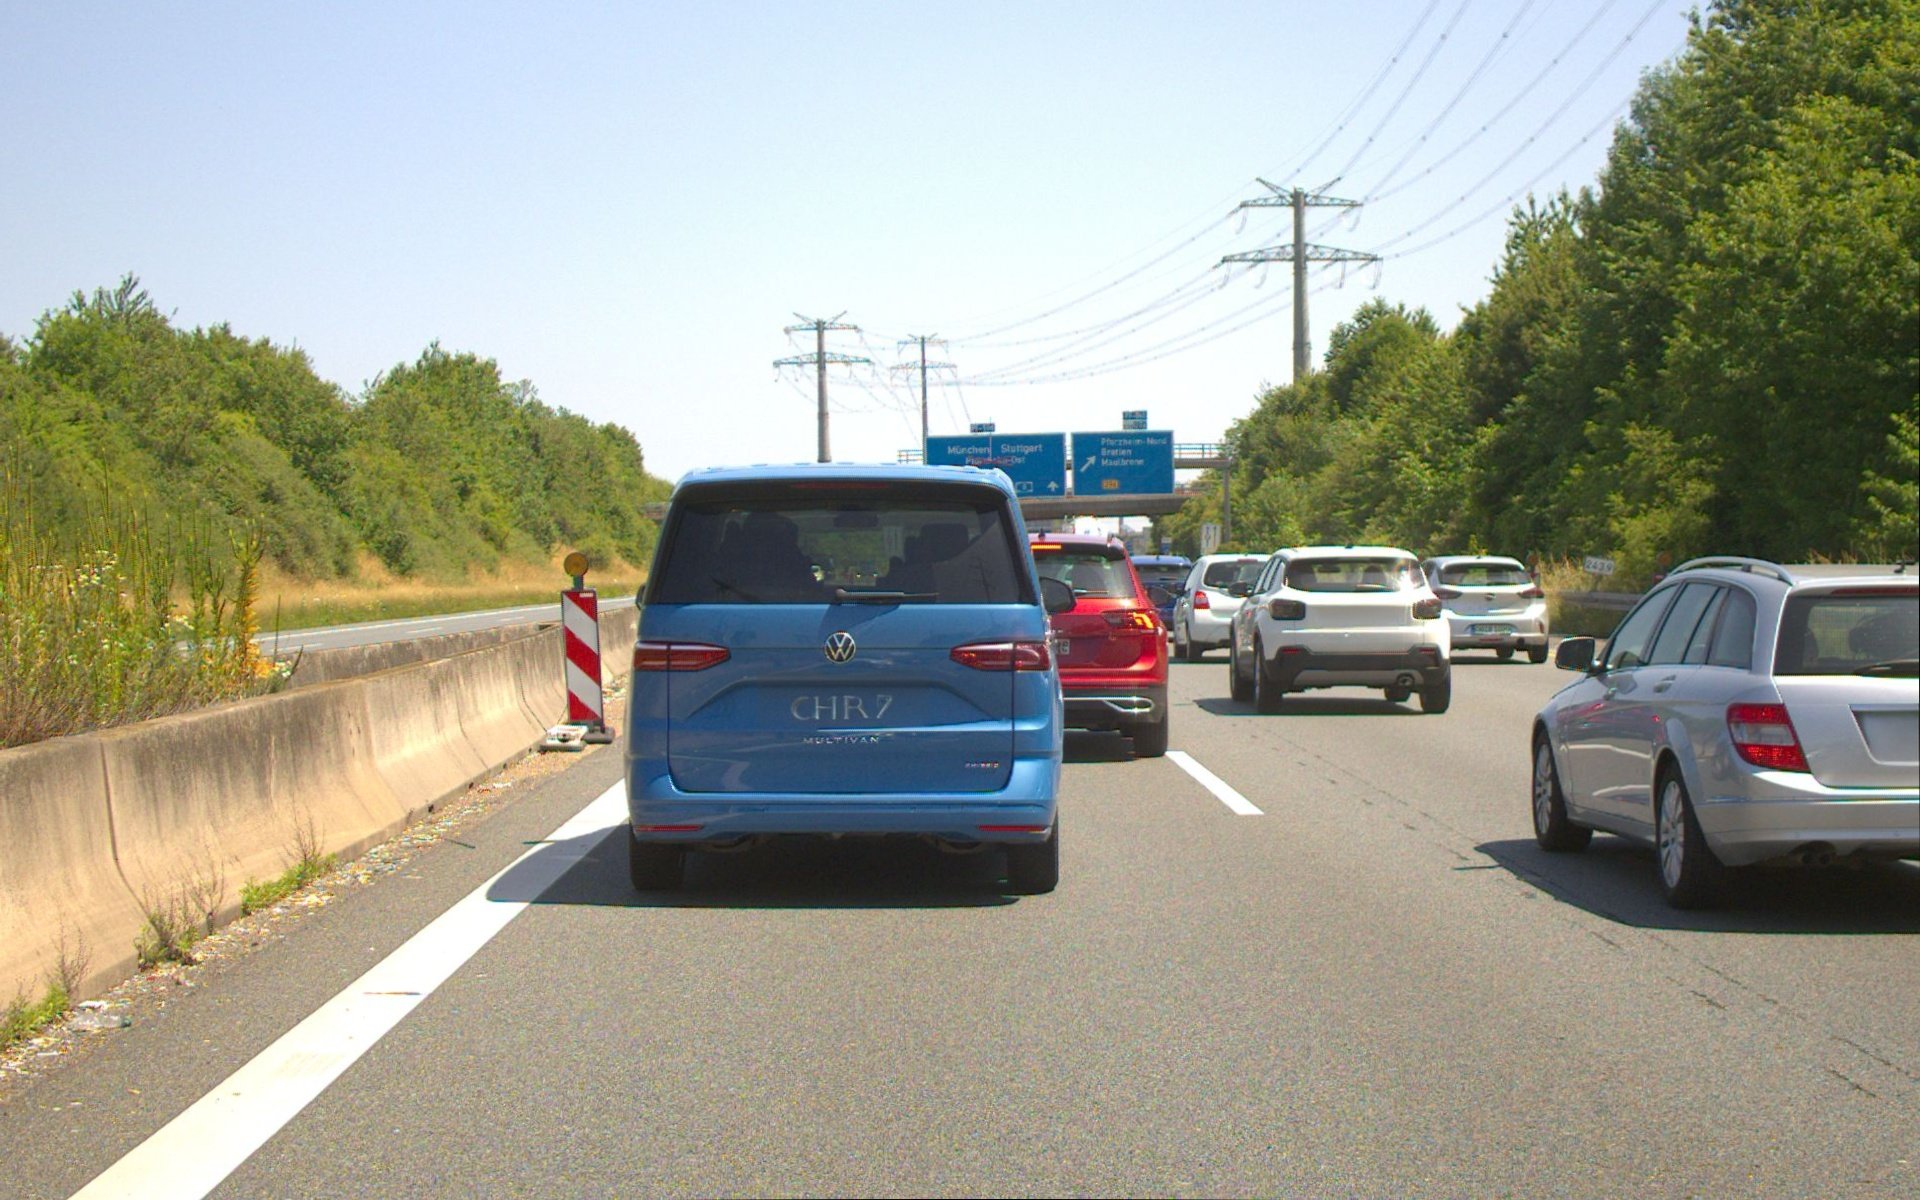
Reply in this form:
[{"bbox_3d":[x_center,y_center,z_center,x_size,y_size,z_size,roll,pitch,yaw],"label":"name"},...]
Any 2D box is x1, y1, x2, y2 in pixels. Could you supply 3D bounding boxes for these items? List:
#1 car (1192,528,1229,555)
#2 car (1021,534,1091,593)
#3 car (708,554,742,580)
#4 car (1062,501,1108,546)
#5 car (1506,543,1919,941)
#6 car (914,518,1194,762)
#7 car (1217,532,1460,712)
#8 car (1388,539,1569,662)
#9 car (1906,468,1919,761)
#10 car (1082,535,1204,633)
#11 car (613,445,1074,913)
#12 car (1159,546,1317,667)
[{"bbox_3d":[15.812,-3.694,216.951,1.874,1.665,4.360,1,1,-1],"label":"car"},{"bbox_3d":[2.704,-1.036,97.112,1.797,1.588,4.227,1,1,-1],"label":"car"},{"bbox_3d":[-16.302,-2.300,238.724,1.993,1.644,4.630,-3,1,0],"label":"car"},{"bbox_3d":[6.992,-4.272,193.142,2.377,2.420,4.227,1,1,0],"label":"car"},{"bbox_3d":[3.724,0.526,15.319,1.770,1.512,4.360,1,1,-1],"label":"car"},{"bbox_3d":[0.621,0.251,26.008,1.874,1.665,4.360,1,1,-1],"label":"car"},{"bbox_3d":[3.552,0.171,32.957,1.797,1.588,4.227,1,1,-1],"label":"car"},{"bbox_3d":[7.084,-0.014,47.371,1.797,1.588,4.227,1,1,-1],"label":"car"},{"bbox_3d":[7.455,0.129,21.670,1.797,2.007,4.227,1,1,0],"label":"car"},{"bbox_3d":[3.098,-0.287,58.960,1.797,1.588,4.227,1,1,-1],"label":"car"},{"bbox_3d":[-0.532,0.304,16.354,1.874,1.905,4.360,1,1,-1],"label":"car"},{"bbox_3d":[3.818,0.063,47.820,1.797,1.588,4.227,1,1,-1],"label":"car"}]
